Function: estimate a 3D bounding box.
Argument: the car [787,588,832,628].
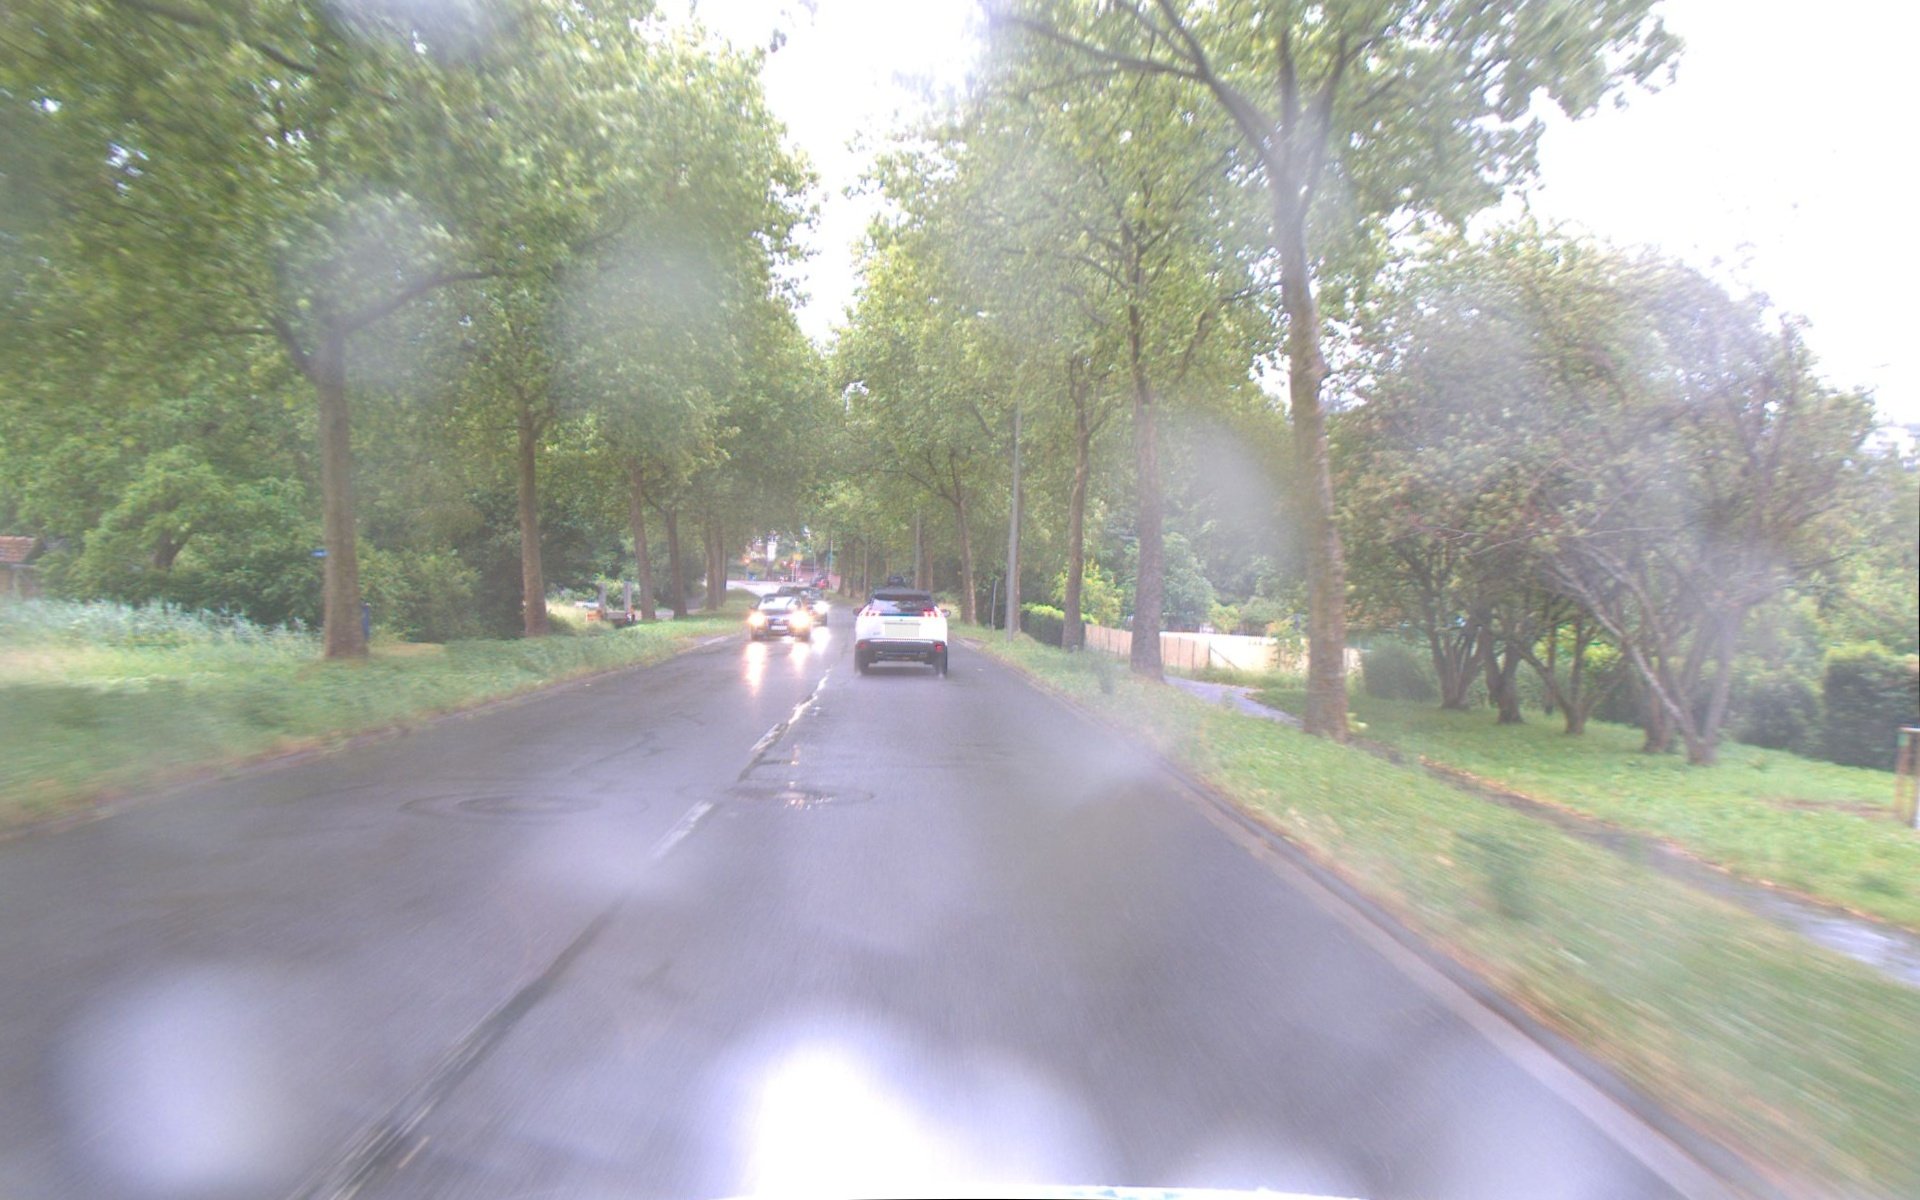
[{"bbox_3d":[-6.562,0.331,72.462,1.697,1.616,4.308,2,0,-3],"label":"car"}]

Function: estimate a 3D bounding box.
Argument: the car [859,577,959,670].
[{"bbox_3d":[-1.016,0.402,31.792,1.758,1.606,3.842,2,1,-3],"label":"car"}]

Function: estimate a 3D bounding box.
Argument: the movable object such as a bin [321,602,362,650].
[{"bbox_3d":[-19.503,0.808,52.182,0.944,1.447,0.965,2,0,-5],"label":"movable object such as a bin"}]

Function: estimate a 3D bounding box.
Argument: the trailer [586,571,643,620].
[{"bbox_3d":[-19.534,-0.237,93.767,2.436,2.612,5.327,2,0,-5],"label":"trailer"}]

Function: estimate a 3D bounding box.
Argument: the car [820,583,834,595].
[{"bbox_3d":[-17.805,-1.462,221.309,1.791,1.624,3.651,2,0,-3],"label":"car"}]

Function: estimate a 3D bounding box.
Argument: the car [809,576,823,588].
[{"bbox_3d":[-20.111,-2.487,230.785,1.791,1.624,3.651,2,0,-3],"label":"car"}]

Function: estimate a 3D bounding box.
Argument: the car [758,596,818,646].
[{"bbox_3d":[-5.285,0.626,51.268,1.697,1.448,4.222,1,0,-4],"label":"car"}]

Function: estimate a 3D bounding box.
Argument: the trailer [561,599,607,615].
[{"bbox_3d":[-29.374,0.516,129.216,3.491,1.199,1.817,1,1,-13],"label":"trailer"}]
